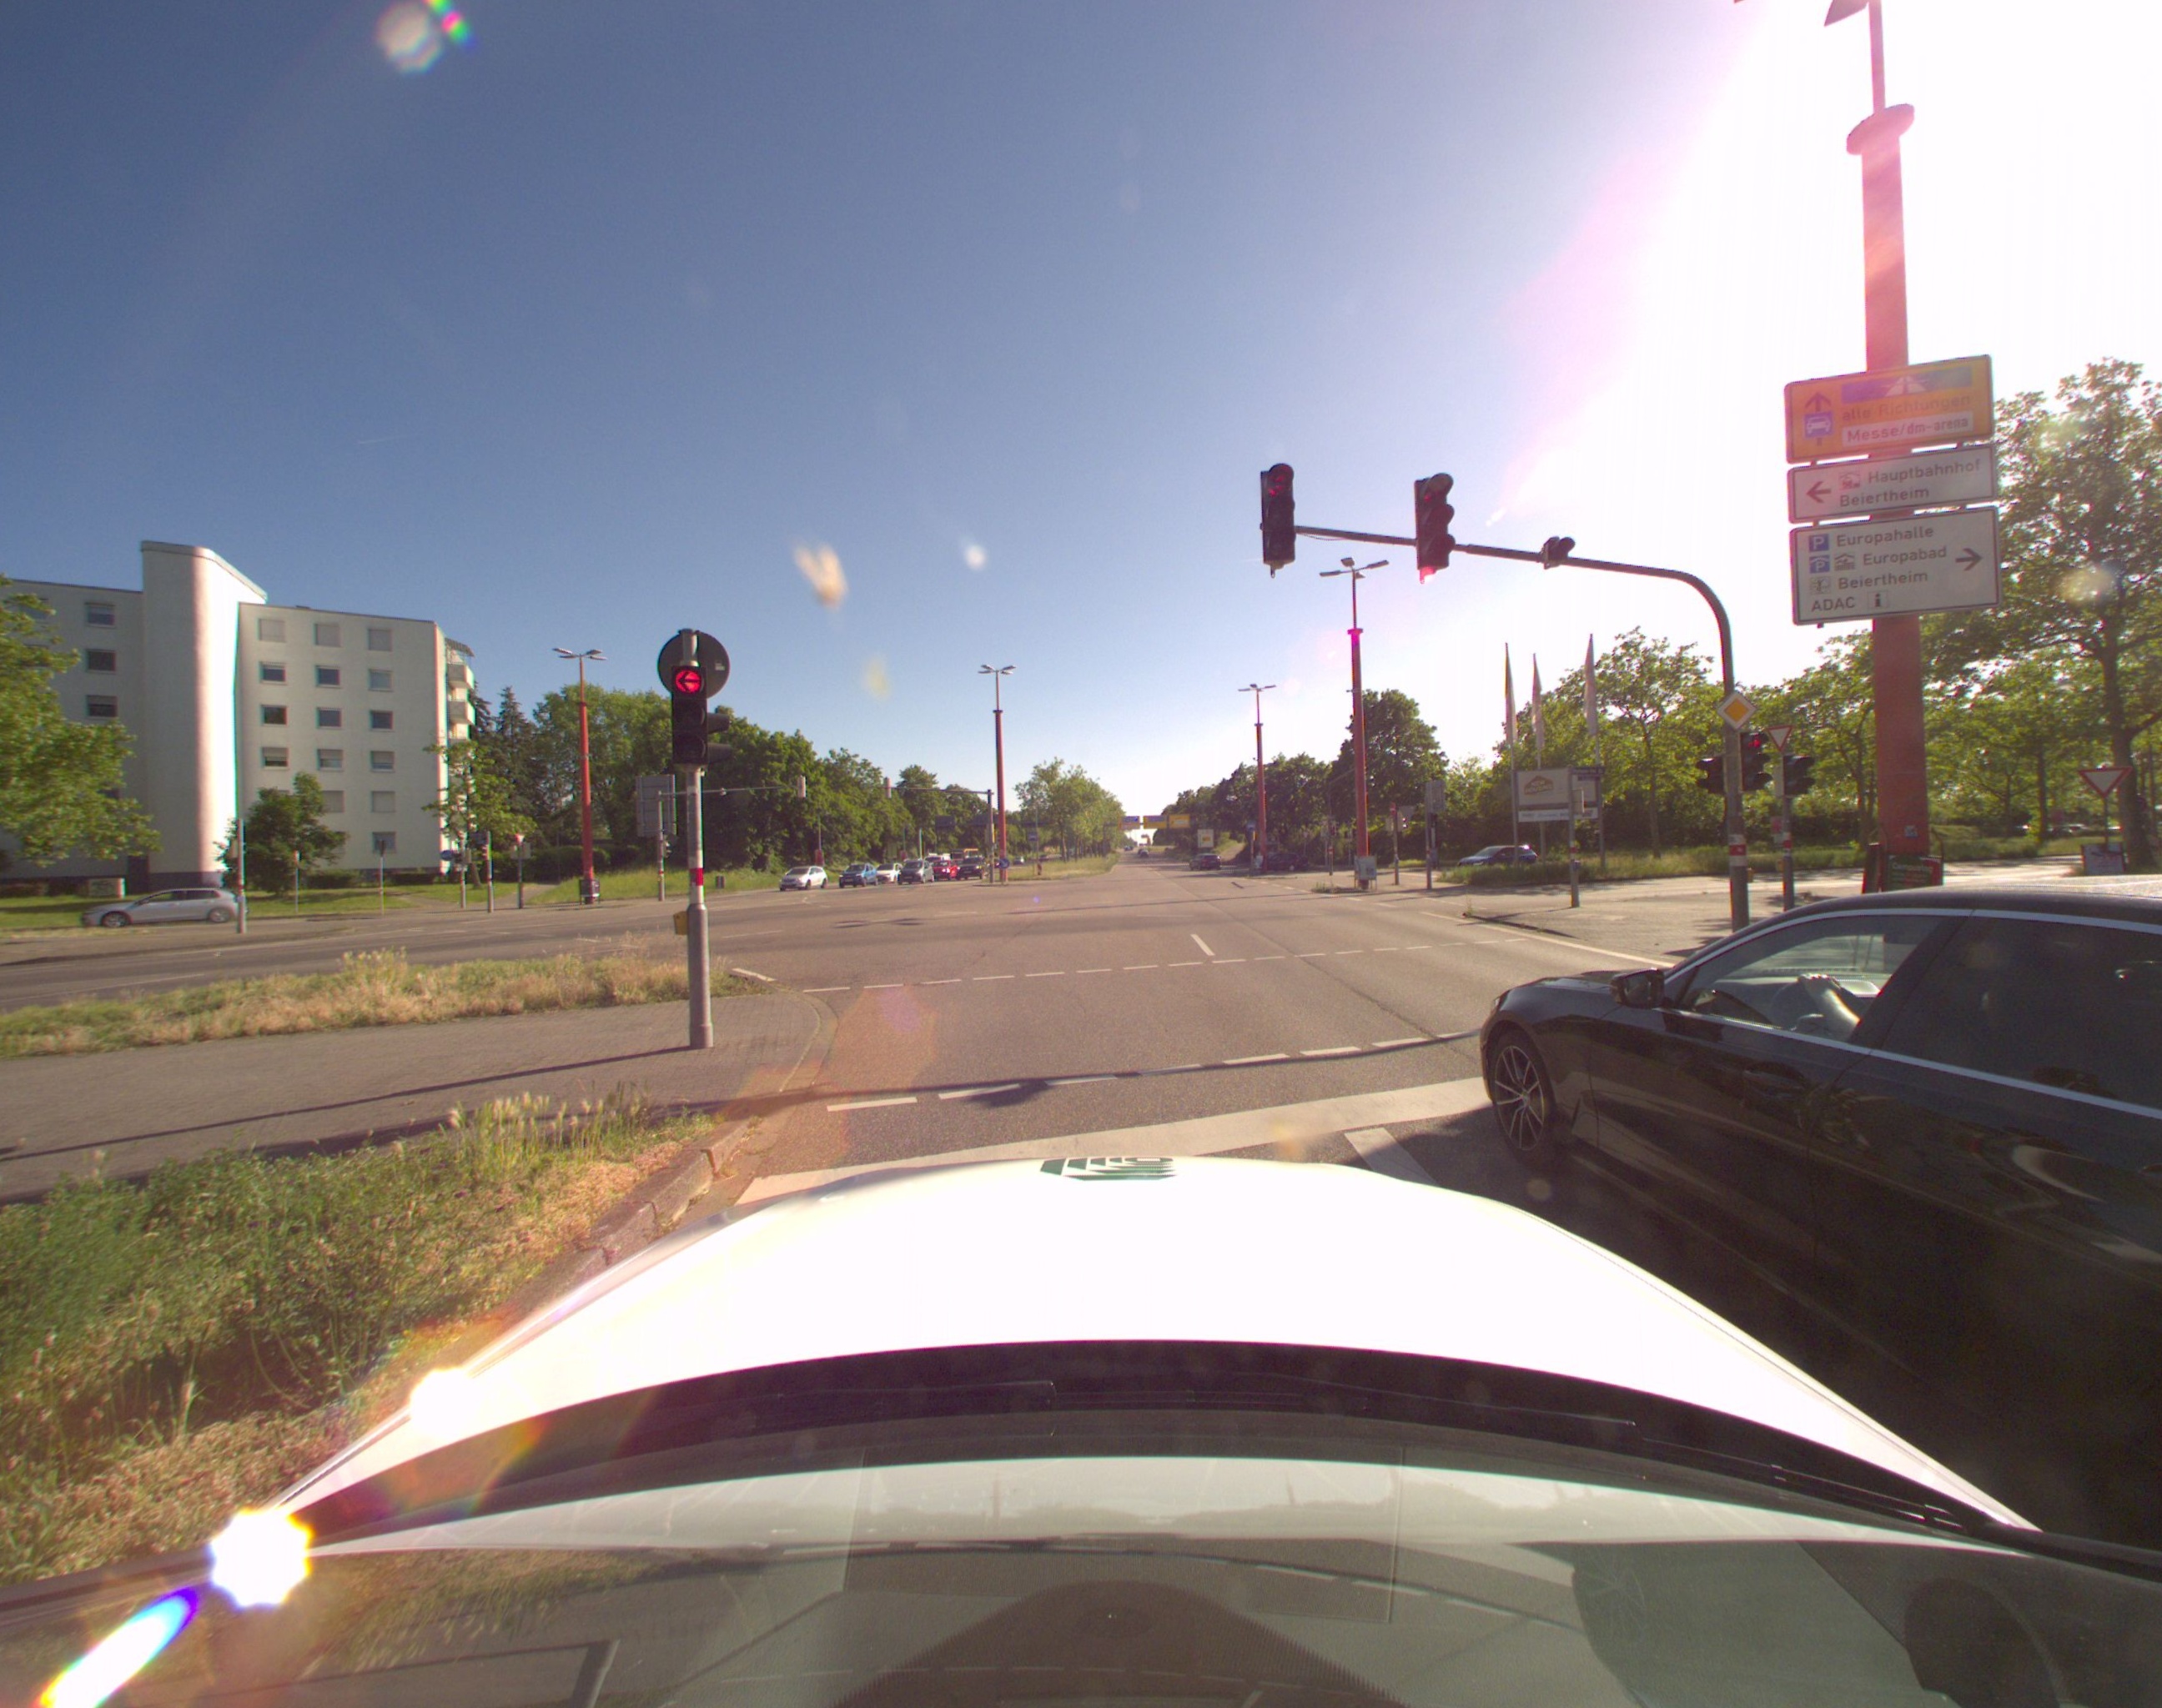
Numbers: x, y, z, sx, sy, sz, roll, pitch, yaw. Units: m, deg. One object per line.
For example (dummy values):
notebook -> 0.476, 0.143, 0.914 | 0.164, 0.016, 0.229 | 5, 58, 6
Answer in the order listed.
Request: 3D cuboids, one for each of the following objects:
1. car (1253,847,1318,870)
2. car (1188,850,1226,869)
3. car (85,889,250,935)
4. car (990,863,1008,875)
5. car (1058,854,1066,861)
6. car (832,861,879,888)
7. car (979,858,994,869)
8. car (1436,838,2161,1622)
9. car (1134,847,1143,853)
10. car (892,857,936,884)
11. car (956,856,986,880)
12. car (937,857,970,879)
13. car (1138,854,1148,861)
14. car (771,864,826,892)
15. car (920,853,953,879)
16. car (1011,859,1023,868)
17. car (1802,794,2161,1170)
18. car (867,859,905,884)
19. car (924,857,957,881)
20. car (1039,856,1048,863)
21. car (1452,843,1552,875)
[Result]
car -> 15.351, 0.362, 61.395 | 2.177, 1.573, 4.230 | -2, 0, -41
car -> 11.166, 0.496, 72.391 | 2.157, 1.573, 4.571 | -2, 0, -8
car -> -35.811, 2.238, 32.094 | 1.776, 1.452, 4.247 | -2, 0, 43
car -> -10.818, 2.030, 108.046 | 1.814, 1.454, 3.658 | -2, 0, 2
car -> -4.780, 0.836, 207.327 | 1.892, 1.771, 3.849 | -2, 0, 0
car -> -14.228, 1.283, 51.647 | 1.989, 1.573, 4.116 | -2, 0, -3
car -> -14.573, 1.481, 125.371 | 1.872, 1.573, 4.117 | -2, 0, -2
car -> 2.963, 0.667, 2.381 | 1.986, 1.394, 4.479 | -2, 0, 2
car -> 16.072, -1.103, 227.147 | 2.153, 1.573, 4.277 | -2, 0, -2
car -> -10.725, 1.044, 52.587 | 1.988, 1.573, 4.119 | -2, 0, -1
car -> -7.558, 0.936, 56.497 | 1.874, 1.573, 4.112 | -2, 0, -6
car -> -10.059, 1.090, 64.660 | 1.988, 1.573, 4.118 | -2, 0, -1
car -> 13.958, 0.748, 183.292 | 2.149, 1.573, 4.285 | -2, 0, 4
car -> -17.685, 1.466, 51.187 | 1.987, 1.573, 4.120 | -2, 0, 0
car -> -12.728, 1.050, 71.993 | 2.055, 2.193, 4.377 | -2, 0, 0
car -> -11.855, 1.729, 150.957 | 1.872, 1.573, 3.943 | -2, 0, -2
car -> 5.810, 0.562, 3.269 | 1.959, 1.686, 4.479 | -1, 0, 2
car -> -13.731, 1.214, 57.530 | 1.991, 1.573, 4.112 | -3, 0, -6
car -> -10.096, 1.044, 58.878 | 1.991, 1.573, 4.112 | -2, 0, -6
car -> -8.075, 1.214, 177.754 | 1.872, 1.573, 4.117 | -2, 0, -2
car -> 20.814, 0.229, 40.283 | 4.276, 1.428, 1.874 | -2, 0, -16
